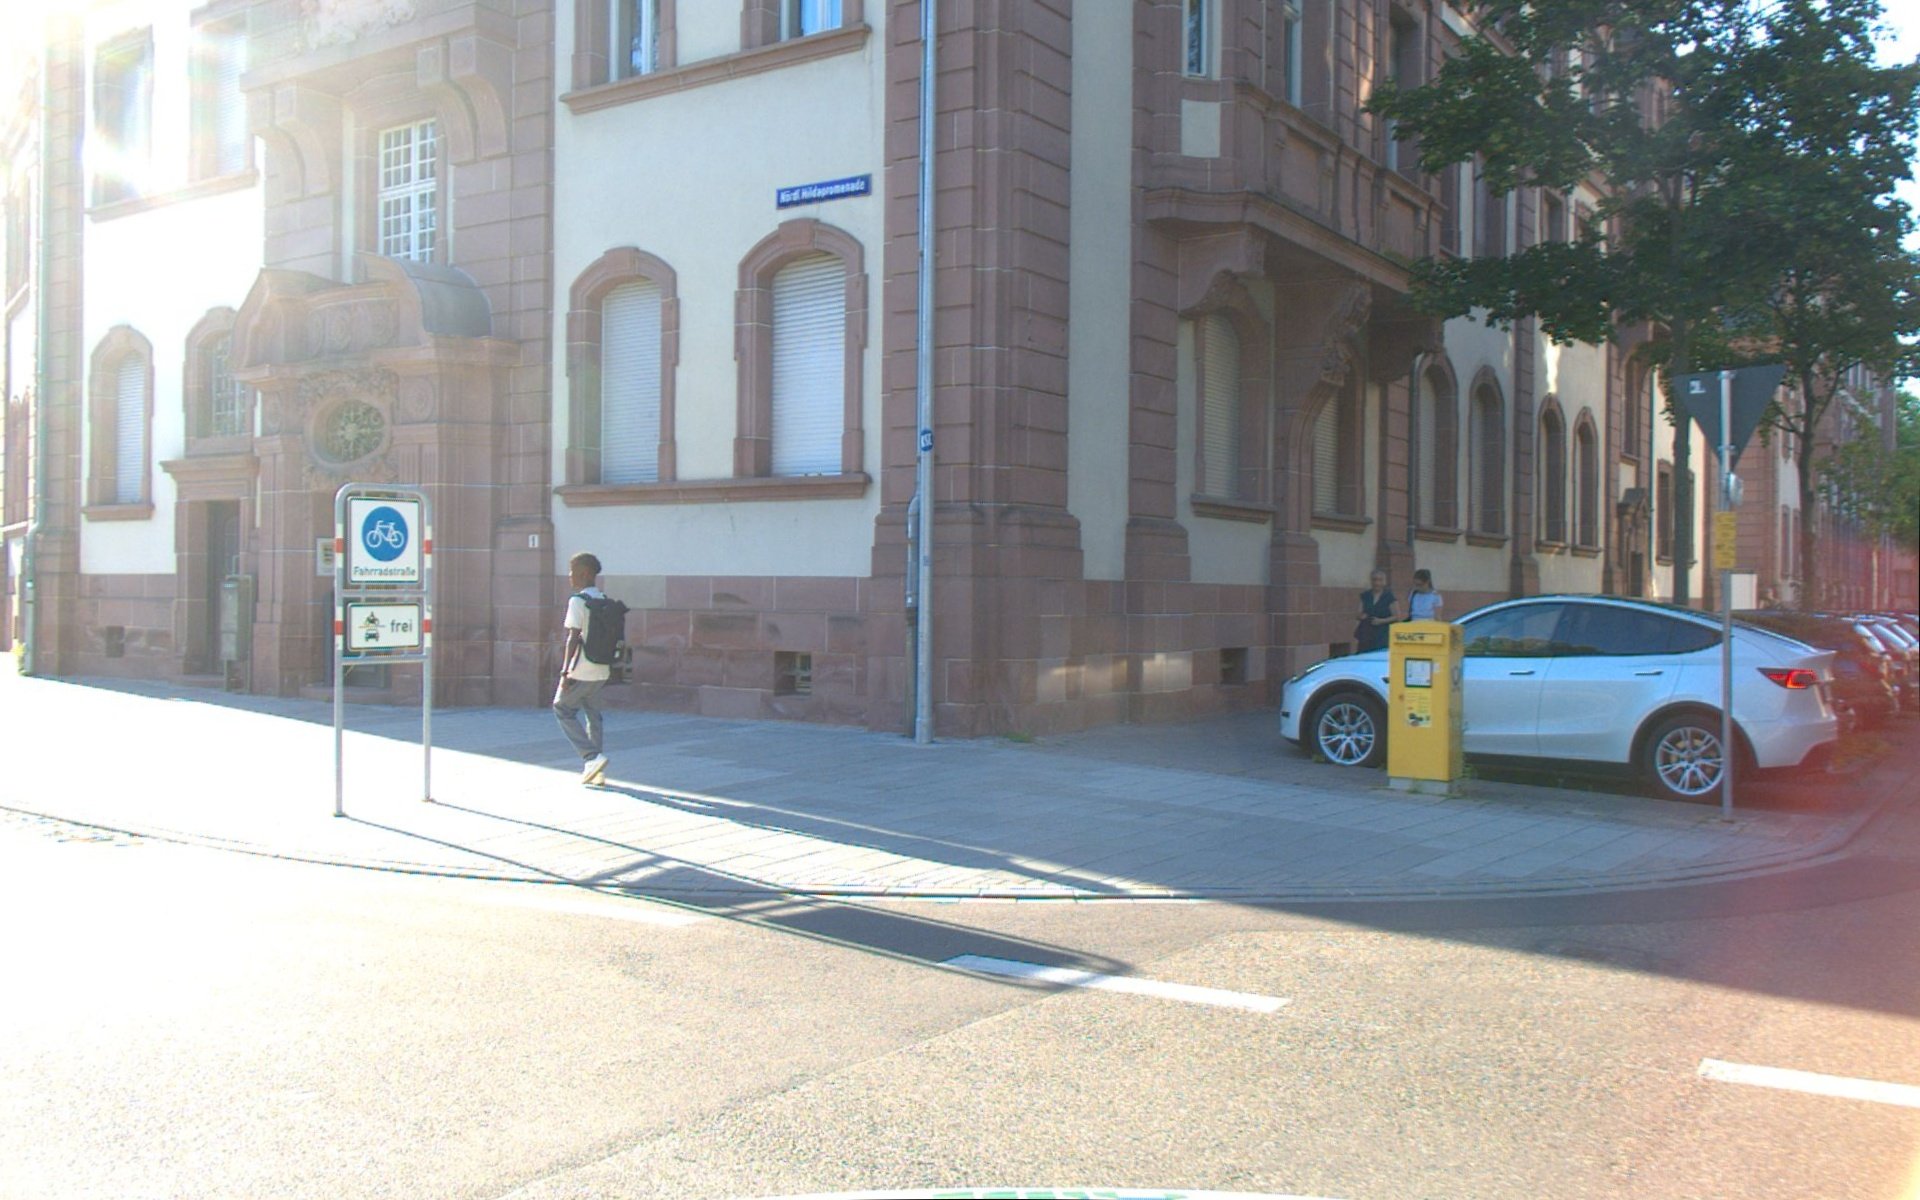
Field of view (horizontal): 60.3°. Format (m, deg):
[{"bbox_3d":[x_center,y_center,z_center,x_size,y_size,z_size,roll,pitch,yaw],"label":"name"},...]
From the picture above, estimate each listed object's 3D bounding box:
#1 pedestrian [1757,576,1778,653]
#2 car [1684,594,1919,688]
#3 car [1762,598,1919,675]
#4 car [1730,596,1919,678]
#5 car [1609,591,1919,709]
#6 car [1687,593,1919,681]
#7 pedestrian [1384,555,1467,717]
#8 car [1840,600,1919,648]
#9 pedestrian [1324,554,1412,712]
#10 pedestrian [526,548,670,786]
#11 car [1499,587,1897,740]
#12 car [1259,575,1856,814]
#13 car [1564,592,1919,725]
[{"bbox_3d":[21.483,0.384,44.025,0.427,2.049,0.462,0,0,35],"label":"pedestrian"},{"bbox_3d":[15.999,0.727,30.855,4.300,1.522,1.962,3,1,32],"label":"car"},{"bbox_3d":[20.297,0.805,36.712,4.300,1.522,1.962,3,1,32],"label":"car"},{"bbox_3d":[18.832,0.765,35.072,4.300,1.522,1.962,3,1,32],"label":"car"},{"bbox_3d":[12.382,0.704,25.235,4.300,1.522,1.962,3,1,32],"label":"car"},{"bbox_3d":[17.087,0.706,33.233,4.300,1.522,1.962,3,1,32],"label":"car"},{"bbox_3d":[5.561,0.416,19.756,0.712,1.872,0.610,3,1,37],"label":"pedestrian"},{"bbox_3d":[33.058,0.856,57.325,4.304,1.522,1.960,3,1,35],"label":"car"},{"bbox_3d":[5.013,0.389,20.325,0.775,1.872,0.714,2,1,37],"label":"pedestrian"},{"bbox_3d":[-2.779,0.480,12.704,0.983,1.748,0.532,1,3,36],"label":"pedestrian"},{"bbox_3d":[9.193,0.716,20.678,4.300,1.612,1.962,2,1,32],"label":"car"},{"bbox_3d":[5.220,0.702,14.648,4.622,1.616,1.962,4,2,32],"label":"car"},{"bbox_3d":[10.807,0.732,22.851,4.300,1.522,1.962,3,1,32],"label":"car"}]
